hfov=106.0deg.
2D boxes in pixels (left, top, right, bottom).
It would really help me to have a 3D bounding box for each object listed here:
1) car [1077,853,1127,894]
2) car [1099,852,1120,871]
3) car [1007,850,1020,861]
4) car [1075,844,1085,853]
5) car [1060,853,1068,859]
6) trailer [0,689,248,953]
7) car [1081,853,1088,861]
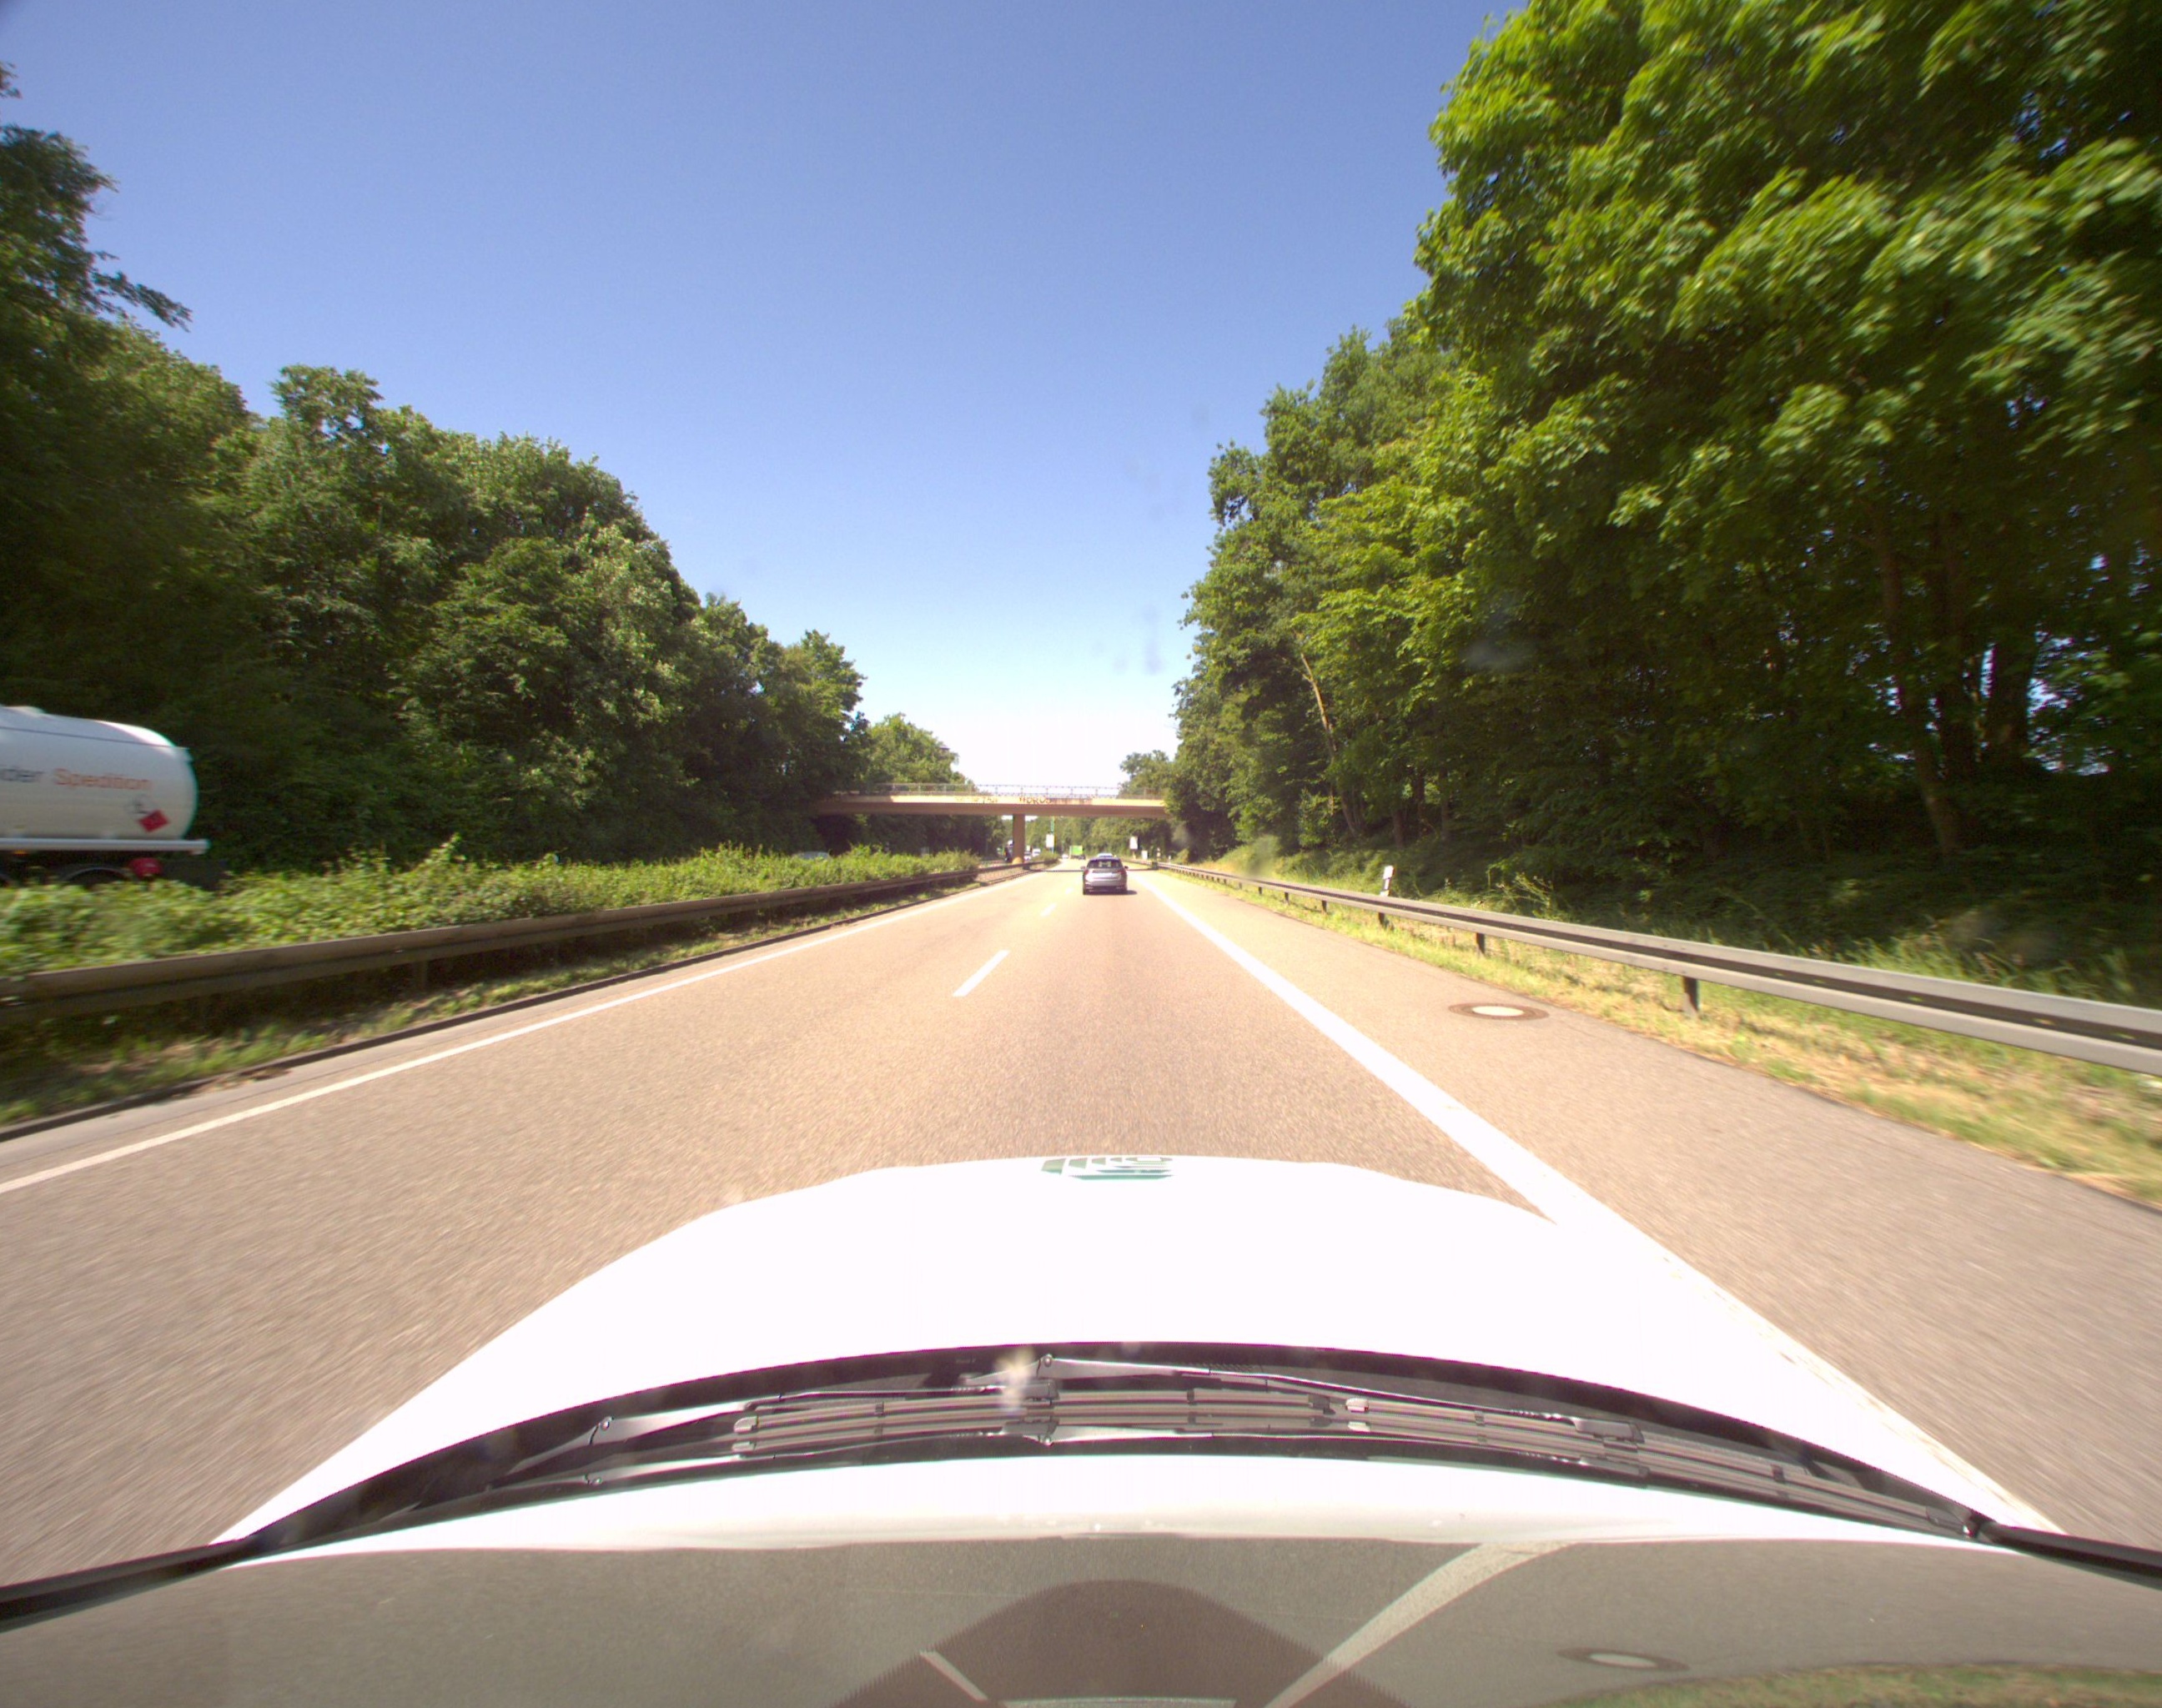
[{"bbox_3d":[0.885,0.706,31.795,1.832,1.472,3.627,0,0,3],"label":"car"},{"bbox_3d":[2.266,0.585,64.471,1.516,1.446,3.343,0,0,3],"label":"car"},{"bbox_3d":[-13.016,0.234,156.152,1.986,2.013,4.002,0,0,2],"label":"car"},{"bbox_3d":[-0.397,-1.515,237.286,2.738,2.654,4.002,0,0,2],"label":"car"},{"bbox_3d":[-5.176,0.621,248.209,1.986,2.013,4.002,0,0,2],"label":"car"},{"bbox_3d":[-14.969,-0.421,7.770,1.986,3.402,11.424,0,0,2],"label":"trailer"},{"bbox_3d":[0.876,0.694,209.455,1.757,2.013,3.589,0,0,2],"label":"car"}]
